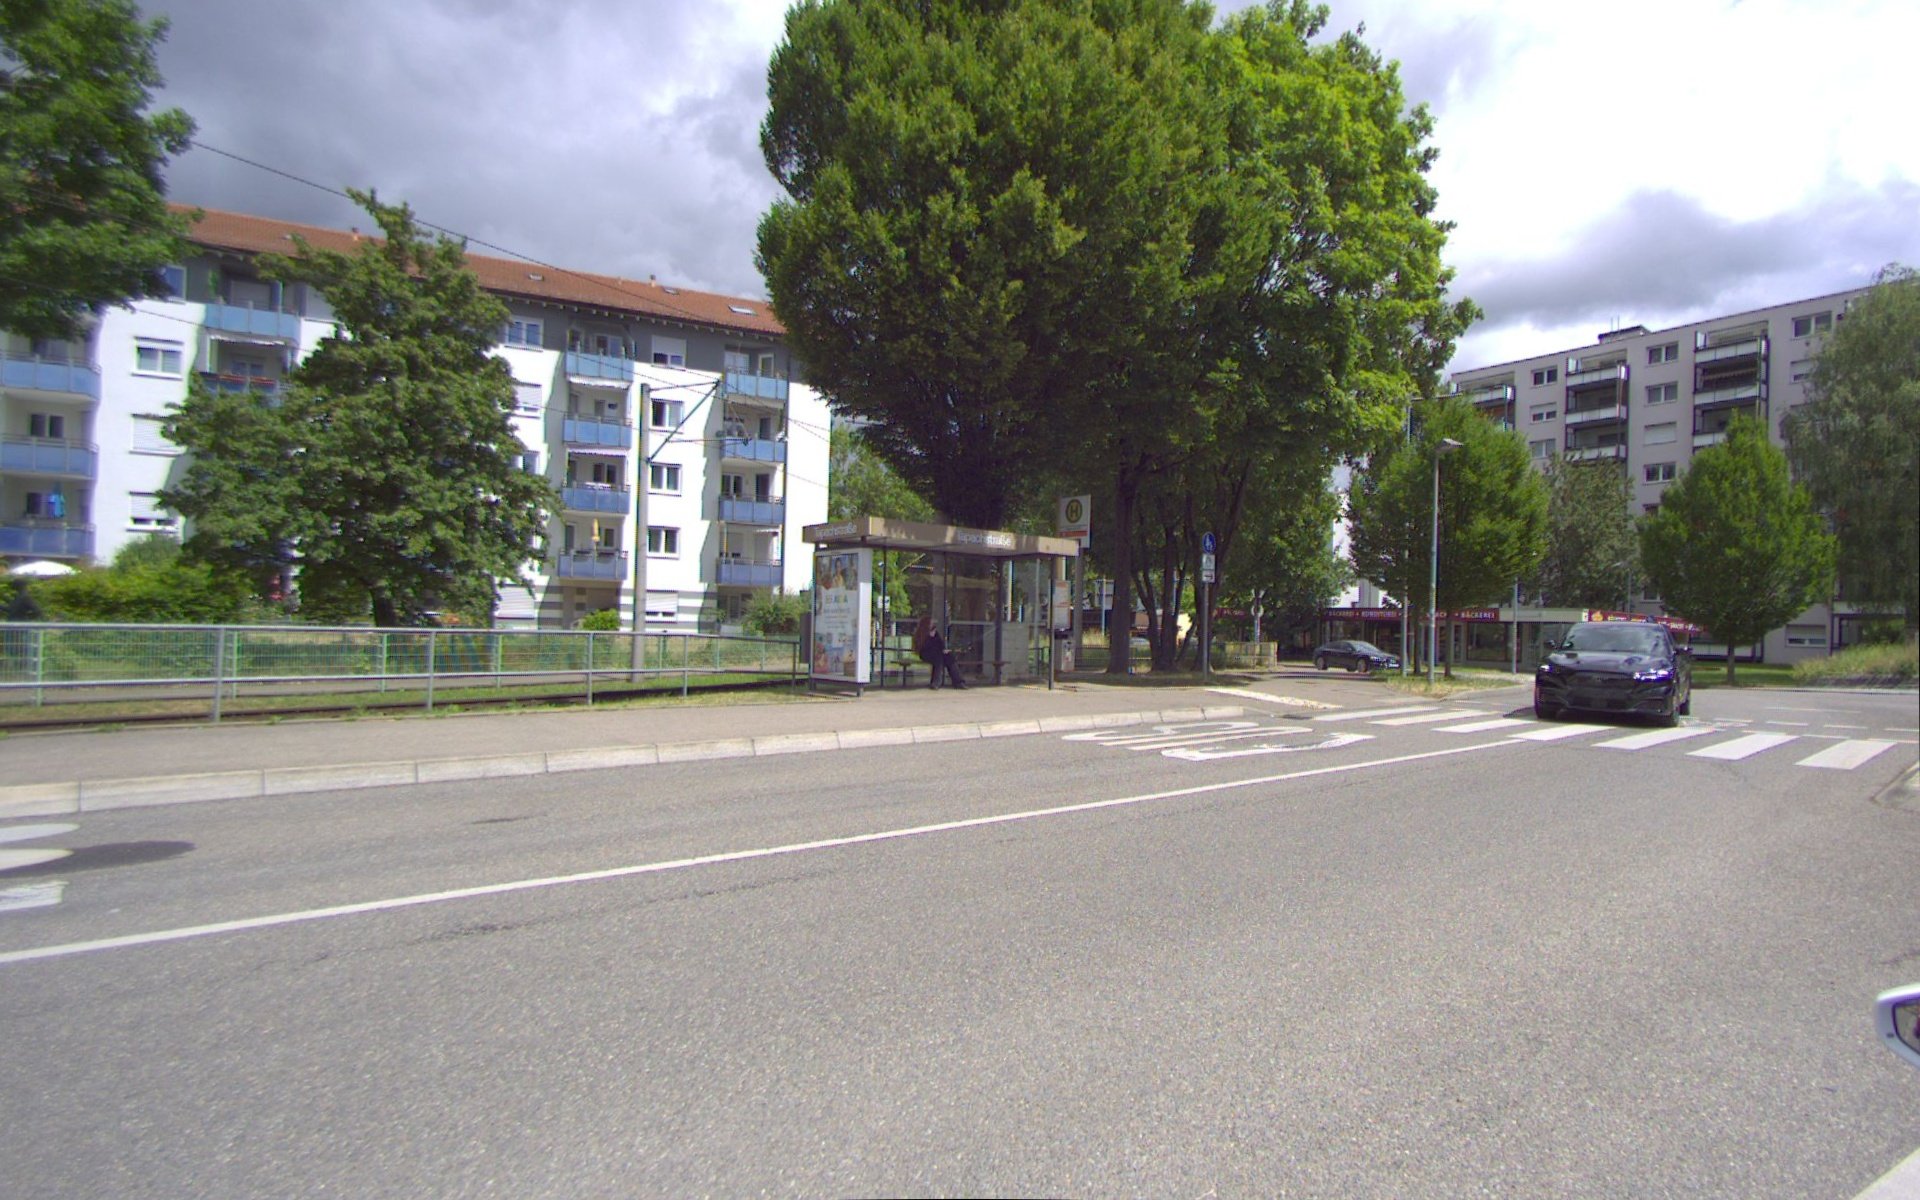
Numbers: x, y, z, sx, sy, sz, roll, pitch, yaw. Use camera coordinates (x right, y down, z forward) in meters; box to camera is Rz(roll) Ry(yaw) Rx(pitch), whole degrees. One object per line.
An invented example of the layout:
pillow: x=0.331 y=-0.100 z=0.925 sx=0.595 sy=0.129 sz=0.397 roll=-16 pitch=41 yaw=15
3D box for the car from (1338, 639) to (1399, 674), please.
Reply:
car: x=17.877 y=2.441 z=44.151 sx=1.786 sy=1.402 sz=4.621 roll=0 pitch=-2 yaw=13

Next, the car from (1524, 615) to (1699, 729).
car: x=10.930 y=1.059 z=16.702 sx=1.970 sy=1.546 sz=4.503 roll=0 pitch=0 yaw=39

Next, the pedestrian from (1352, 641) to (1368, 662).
pedestrian: x=26.513 y=3.391 z=66.578 sx=0.710 sy=1.399 sz=0.694 roll=2 pitch=-2 yaw=-25

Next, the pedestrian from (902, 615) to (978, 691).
pedestrian: x=-0.328 y=0.839 z=16.102 sx=0.903 sy=1.150 sz=0.792 roll=2 pitch=0 yaw=-38
